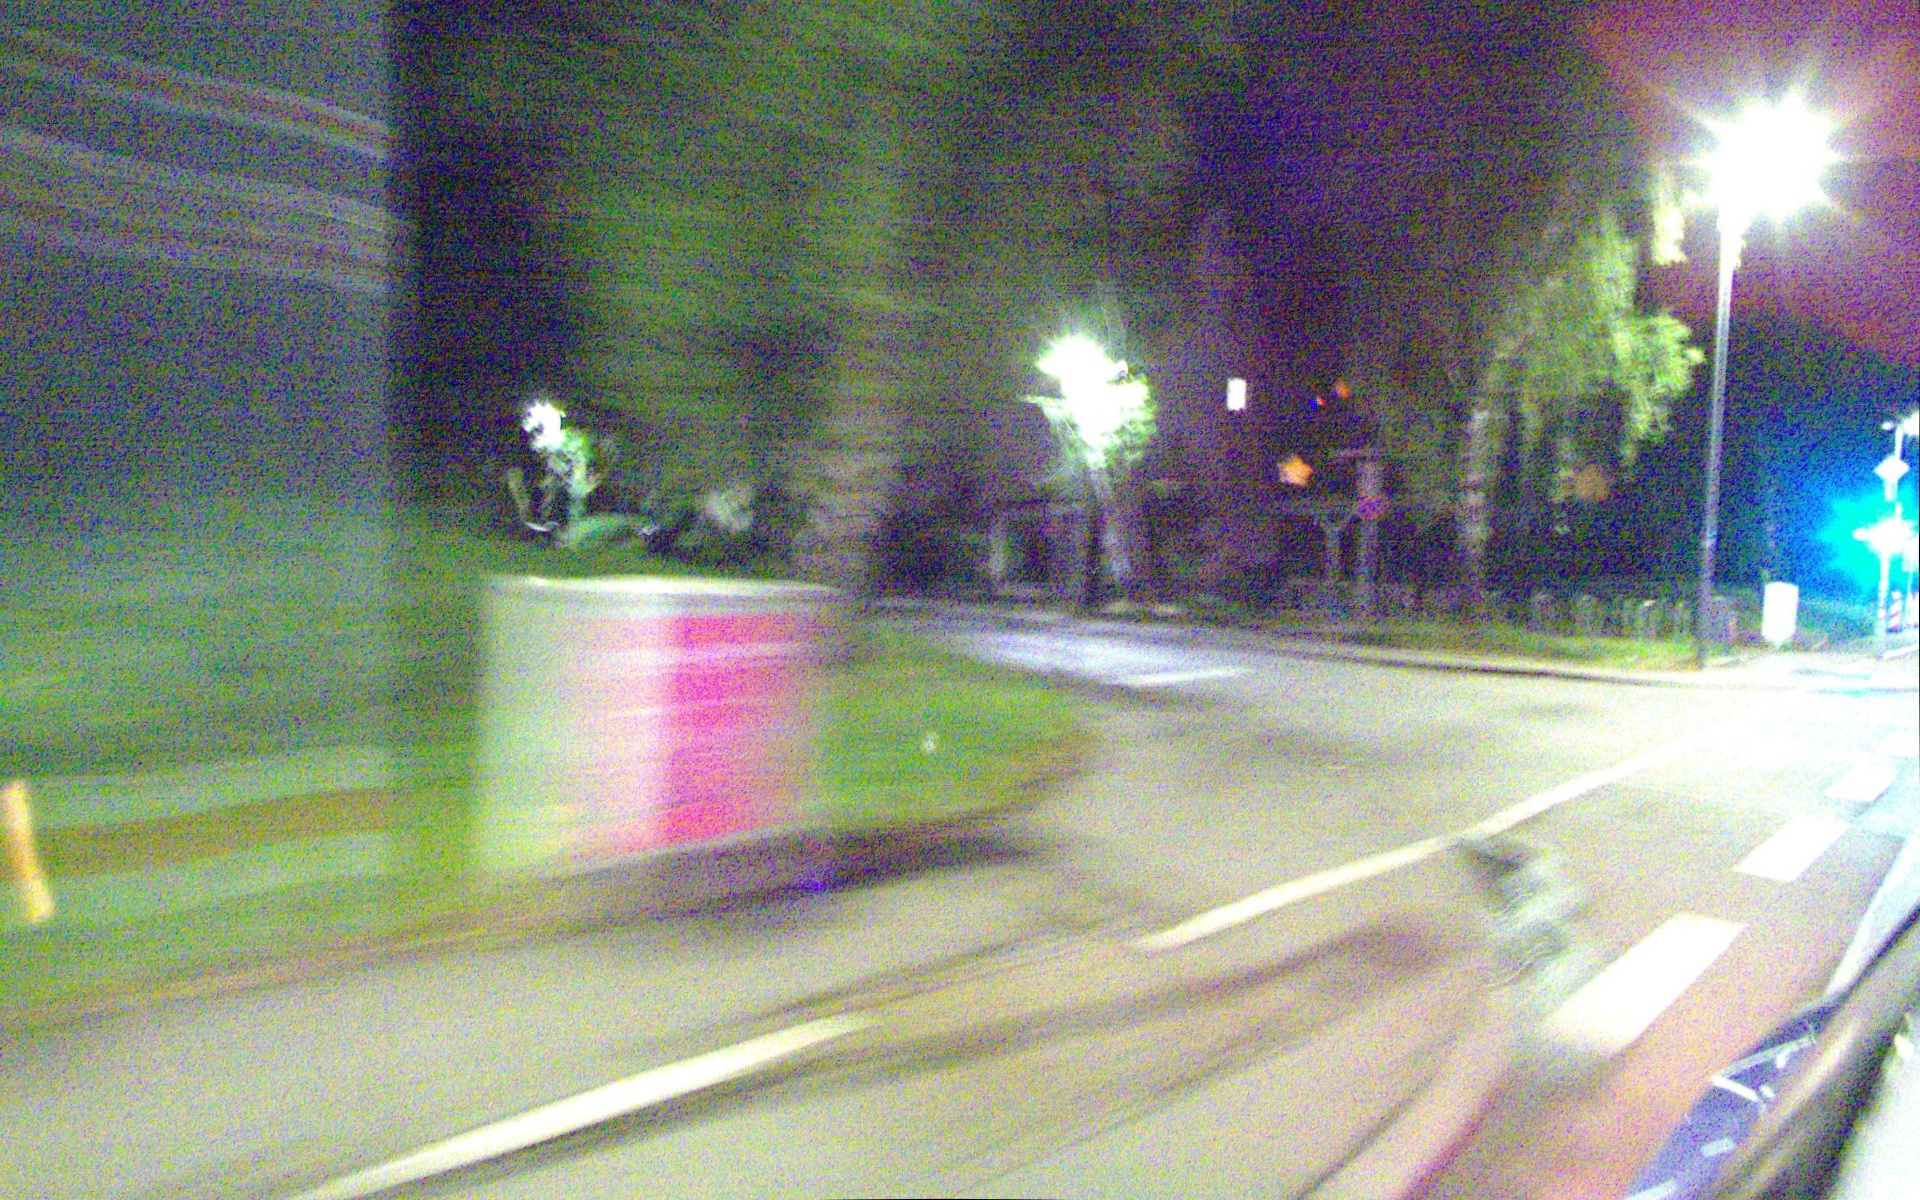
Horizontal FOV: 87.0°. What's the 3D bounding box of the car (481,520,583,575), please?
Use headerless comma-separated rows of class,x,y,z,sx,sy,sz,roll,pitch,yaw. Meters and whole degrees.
car,-12.815,-1.590,30.195,1.720,1.490,3.780,-1,5,-42
